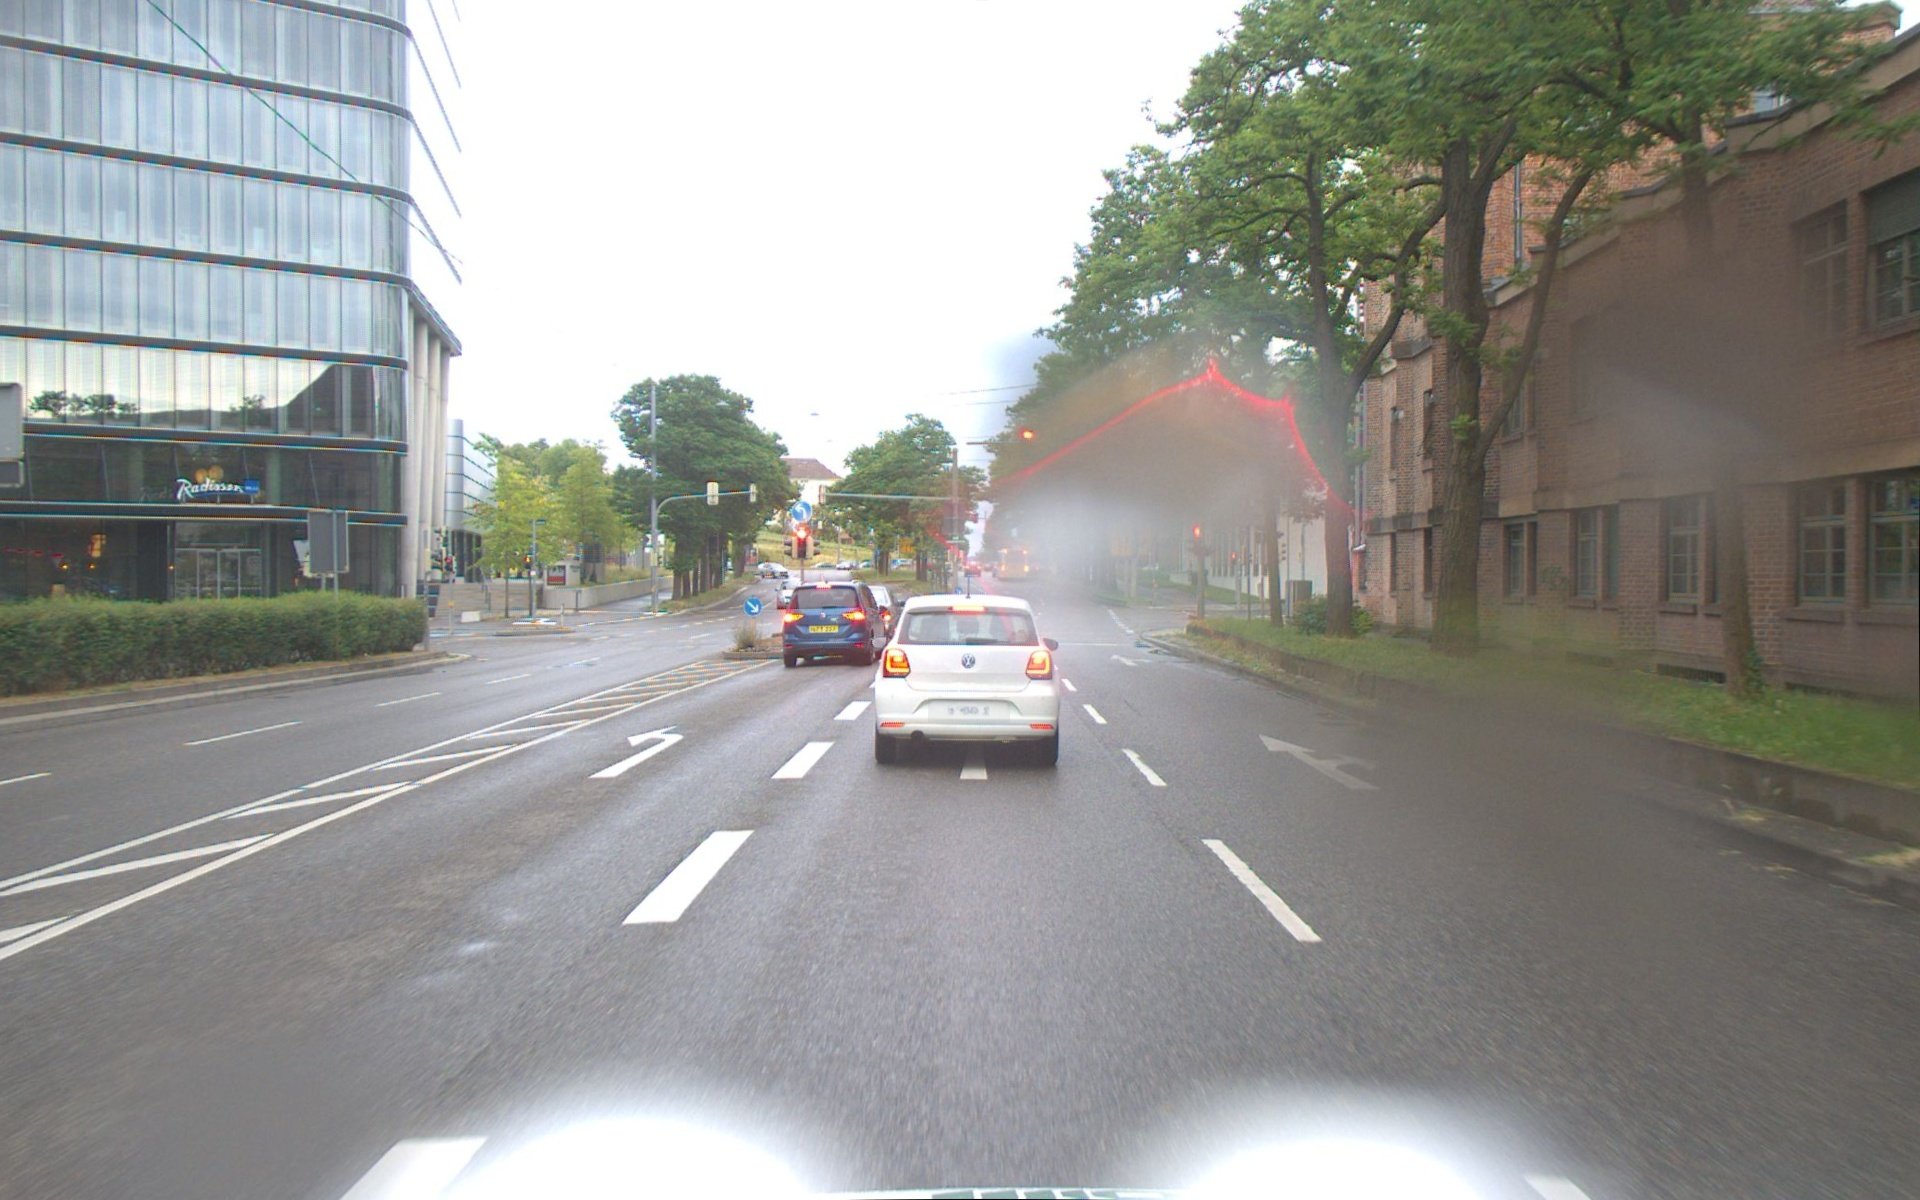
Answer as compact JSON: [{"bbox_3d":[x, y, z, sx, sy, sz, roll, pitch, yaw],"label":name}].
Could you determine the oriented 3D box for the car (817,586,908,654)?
[{"bbox_3d":[-2.321,0.453,40.334,1.808,1.537,4.049,-1,0,2],"label":"car"}]

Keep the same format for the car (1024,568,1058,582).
[{"bbox_3d":[8.831,-2.706,180.759,1.672,1.542,3.801,0,1,44],"label":"car"}]

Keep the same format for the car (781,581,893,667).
[{"bbox_3d":[-2.435,0.444,33.683,1.735,1.624,4.199,-1,0,3],"label":"car"}]

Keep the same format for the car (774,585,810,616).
[{"bbox_3d":[-8.955,-0.009,88.607,1.715,1.547,3.815,-1,1,-3],"label":"car"}]

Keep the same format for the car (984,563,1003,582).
[{"bbox_3d":[3.673,-2.974,181.102,1.953,2.049,4.000,0,0,-1],"label":"car"}]

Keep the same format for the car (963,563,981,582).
[{"bbox_3d":[1.309,-2.951,181.143,1.953,2.049,4.000,0,0,-1],"label":"car"}]

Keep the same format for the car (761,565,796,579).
[{"bbox_3d":[-19.252,-2.945,175.188,1.799,1.436,4.599,-3,2,-34],"label":"car"}]

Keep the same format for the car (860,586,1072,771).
[{"bbox_3d":[0.077,0.640,15.800,1.757,1.528,4.000,0,0,1],"label":"car"}]

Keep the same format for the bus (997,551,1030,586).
[{"bbox_3d":[5.248,-3.127,163.881,2.770,3.323,10.000,0,2,0],"label":"bus"}]
